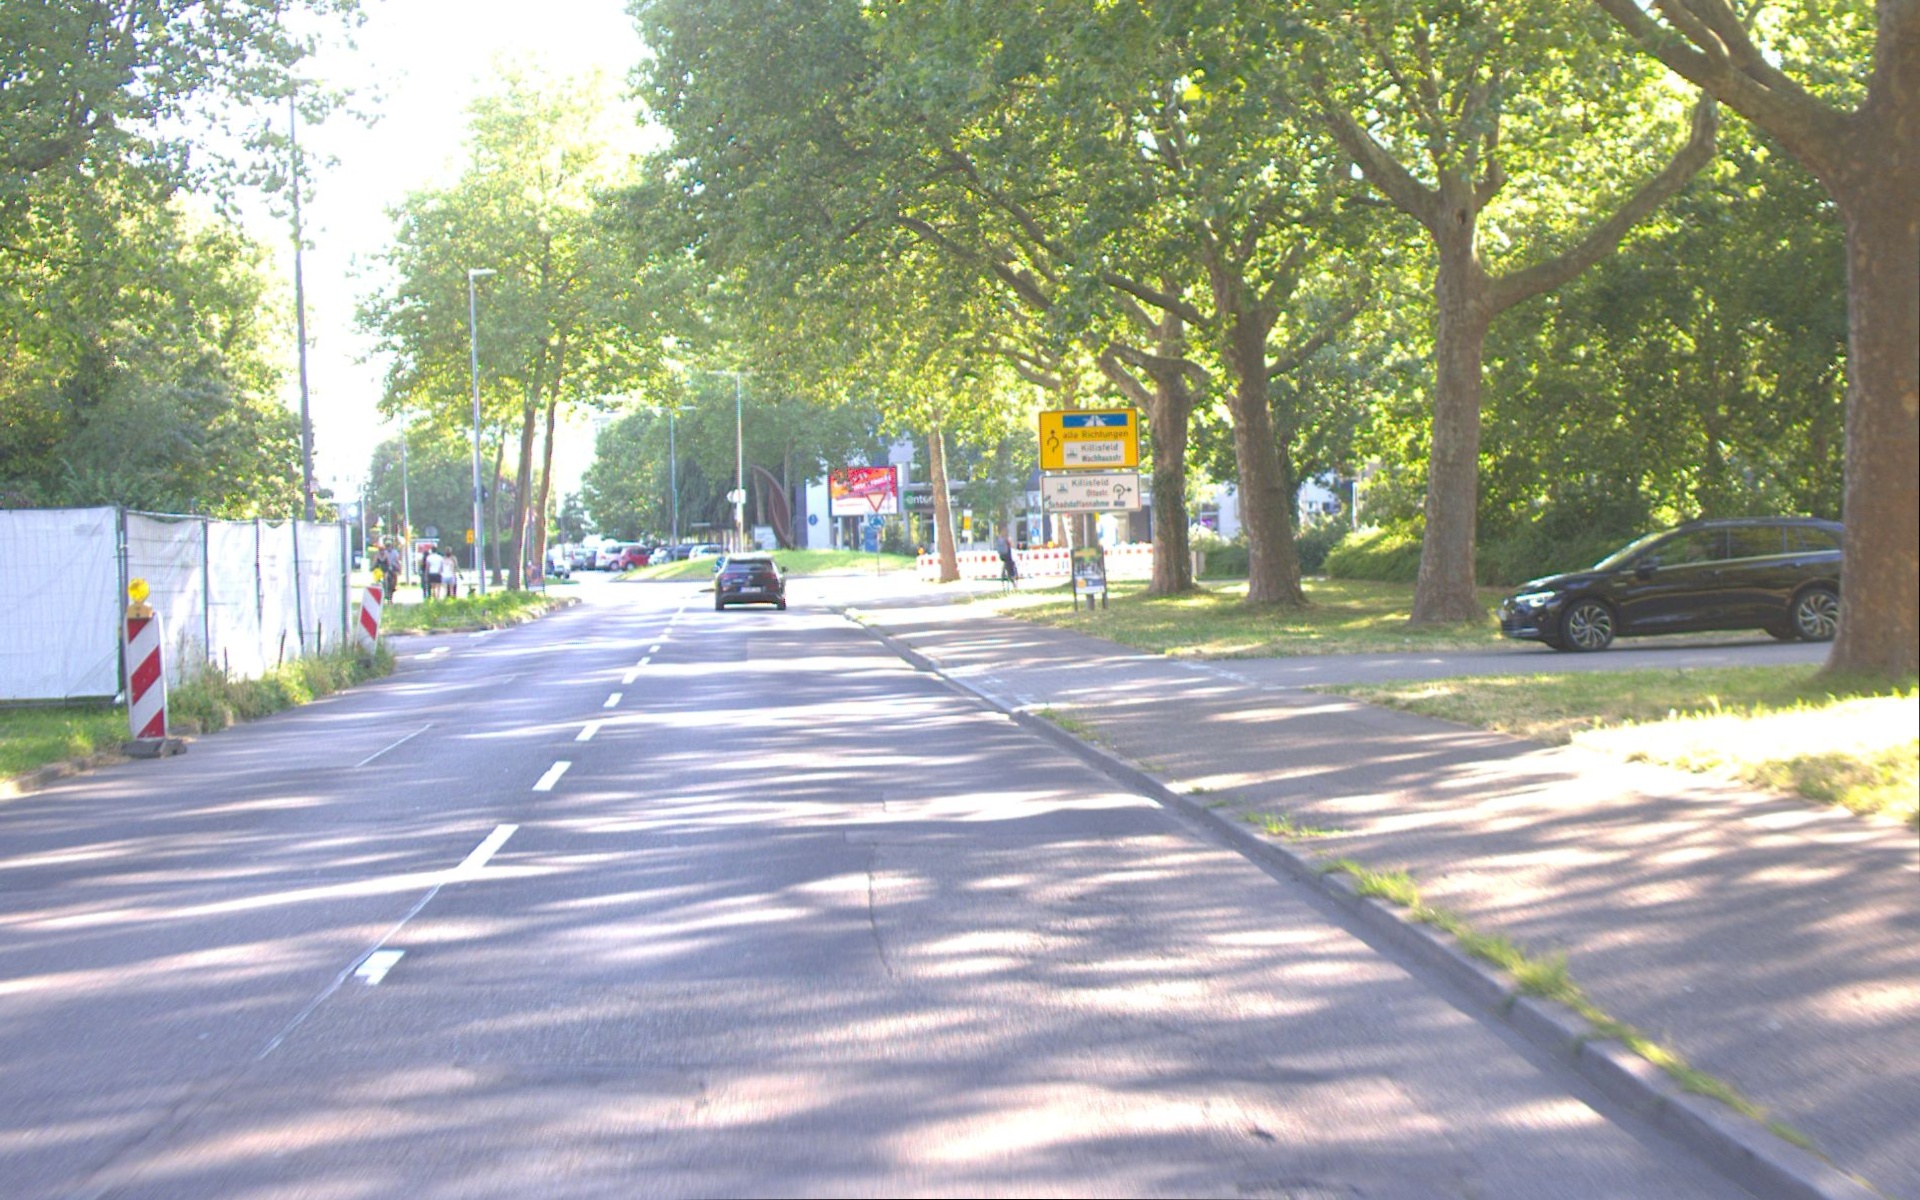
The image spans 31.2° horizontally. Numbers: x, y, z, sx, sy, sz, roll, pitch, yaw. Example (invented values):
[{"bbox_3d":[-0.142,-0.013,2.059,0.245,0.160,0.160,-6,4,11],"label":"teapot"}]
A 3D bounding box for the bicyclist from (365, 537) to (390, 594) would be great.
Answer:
[{"bbox_3d":[-17.591,-1.043,103.790,0.579,1.673,0.971,-3,2,-5],"label":"bicyclist"}]

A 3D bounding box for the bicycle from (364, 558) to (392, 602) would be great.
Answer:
[{"bbox_3d":[-17.569,-0.608,103.780,0.579,1.241,2.108,-3,2,-5],"label":"bicycle"}]

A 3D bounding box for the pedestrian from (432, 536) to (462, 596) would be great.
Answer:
[{"bbox_3d":[-15.272,-1.014,102.395,0.748,1.733,0.852,-2,1,-2],"label":"pedestrian"}]

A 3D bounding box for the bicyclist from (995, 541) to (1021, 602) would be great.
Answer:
[{"bbox_3d":[1.352,-0.805,97.158,0.651,1.699,0.871,-1,1,-3],"label":"bicyclist"}]

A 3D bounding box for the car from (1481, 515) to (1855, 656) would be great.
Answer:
[{"bbox_3d":[8.317,-0.191,40.608,3.987,1.438,1.761,-3,1,0],"label":"car"}]

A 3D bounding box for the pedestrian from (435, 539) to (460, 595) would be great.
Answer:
[{"bbox_3d":[-15.127,-0.977,101.463,0.632,1.632,0.576,-2,1,-3],"label":"pedestrian"}]

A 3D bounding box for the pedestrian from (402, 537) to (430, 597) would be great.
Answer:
[{"bbox_3d":[-16.231,-0.987,102.602,0.665,1.733,0.751,-2,1,-2],"label":"pedestrian"}]

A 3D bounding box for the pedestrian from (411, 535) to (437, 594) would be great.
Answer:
[{"bbox_3d":[-15.882,-1.059,101.862,0.632,1.733,0.664,-2,1,-2],"label":"pedestrian"}]

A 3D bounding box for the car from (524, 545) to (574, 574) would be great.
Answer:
[{"bbox_3d":[-23.885,-2.366,199.761,1.993,1.573,4.001,-2,1,-19],"label":"car"}]

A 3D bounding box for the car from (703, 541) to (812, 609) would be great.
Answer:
[{"bbox_3d":[-5.142,-0.656,87.785,1.840,1.600,3.861,-3,1,11],"label":"car"}]
